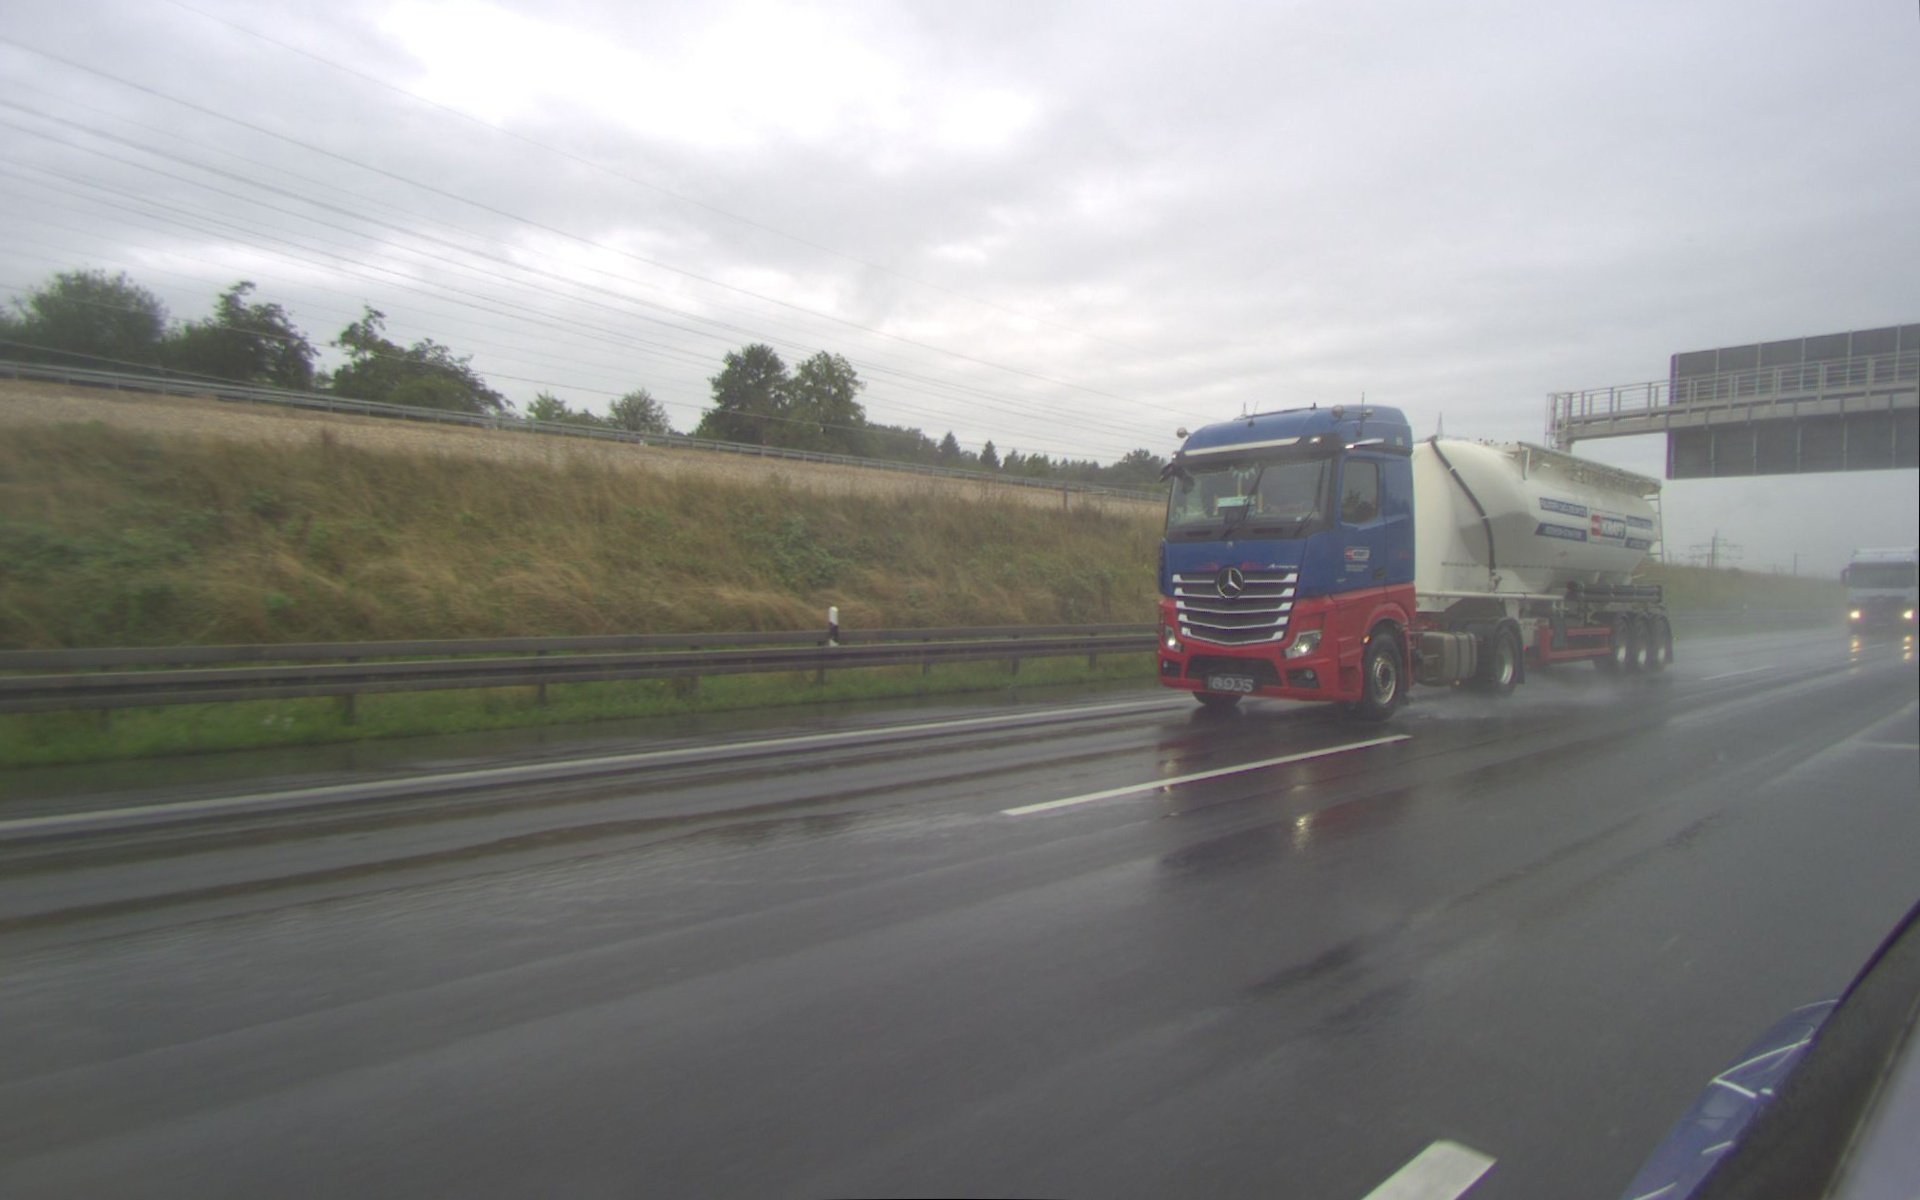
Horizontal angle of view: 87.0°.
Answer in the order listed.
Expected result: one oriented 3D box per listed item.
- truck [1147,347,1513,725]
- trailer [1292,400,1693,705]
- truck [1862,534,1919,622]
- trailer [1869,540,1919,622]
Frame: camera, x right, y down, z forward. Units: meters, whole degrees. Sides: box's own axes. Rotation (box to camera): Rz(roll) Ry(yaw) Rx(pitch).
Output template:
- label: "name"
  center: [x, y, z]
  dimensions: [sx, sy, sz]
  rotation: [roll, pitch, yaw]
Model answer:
- label: "truck"
  center: [5.038, -0.657, 13.406]
  dimensions: [4.987, 4.034, 2.500]
  rotation: [1, -1, -41]
- label: "trailer"
  center: [9.782, -0.546, 17.586]
  dimensions: [10.873, 3.932, 2.501]
  rotation: [1, -1, -42]
- label: "truck"
  center: [44.946, -0.944, 48.012]
  dimensions: [6.089, 3.939, 2.456]
  rotation: [1, -1, -41]
- label: "trailer"
  center: [50.232, -0.766, 52.584]
  dimensions: [16.253, 3.814, 2.484]
  rotation: [1, -1, -41]
